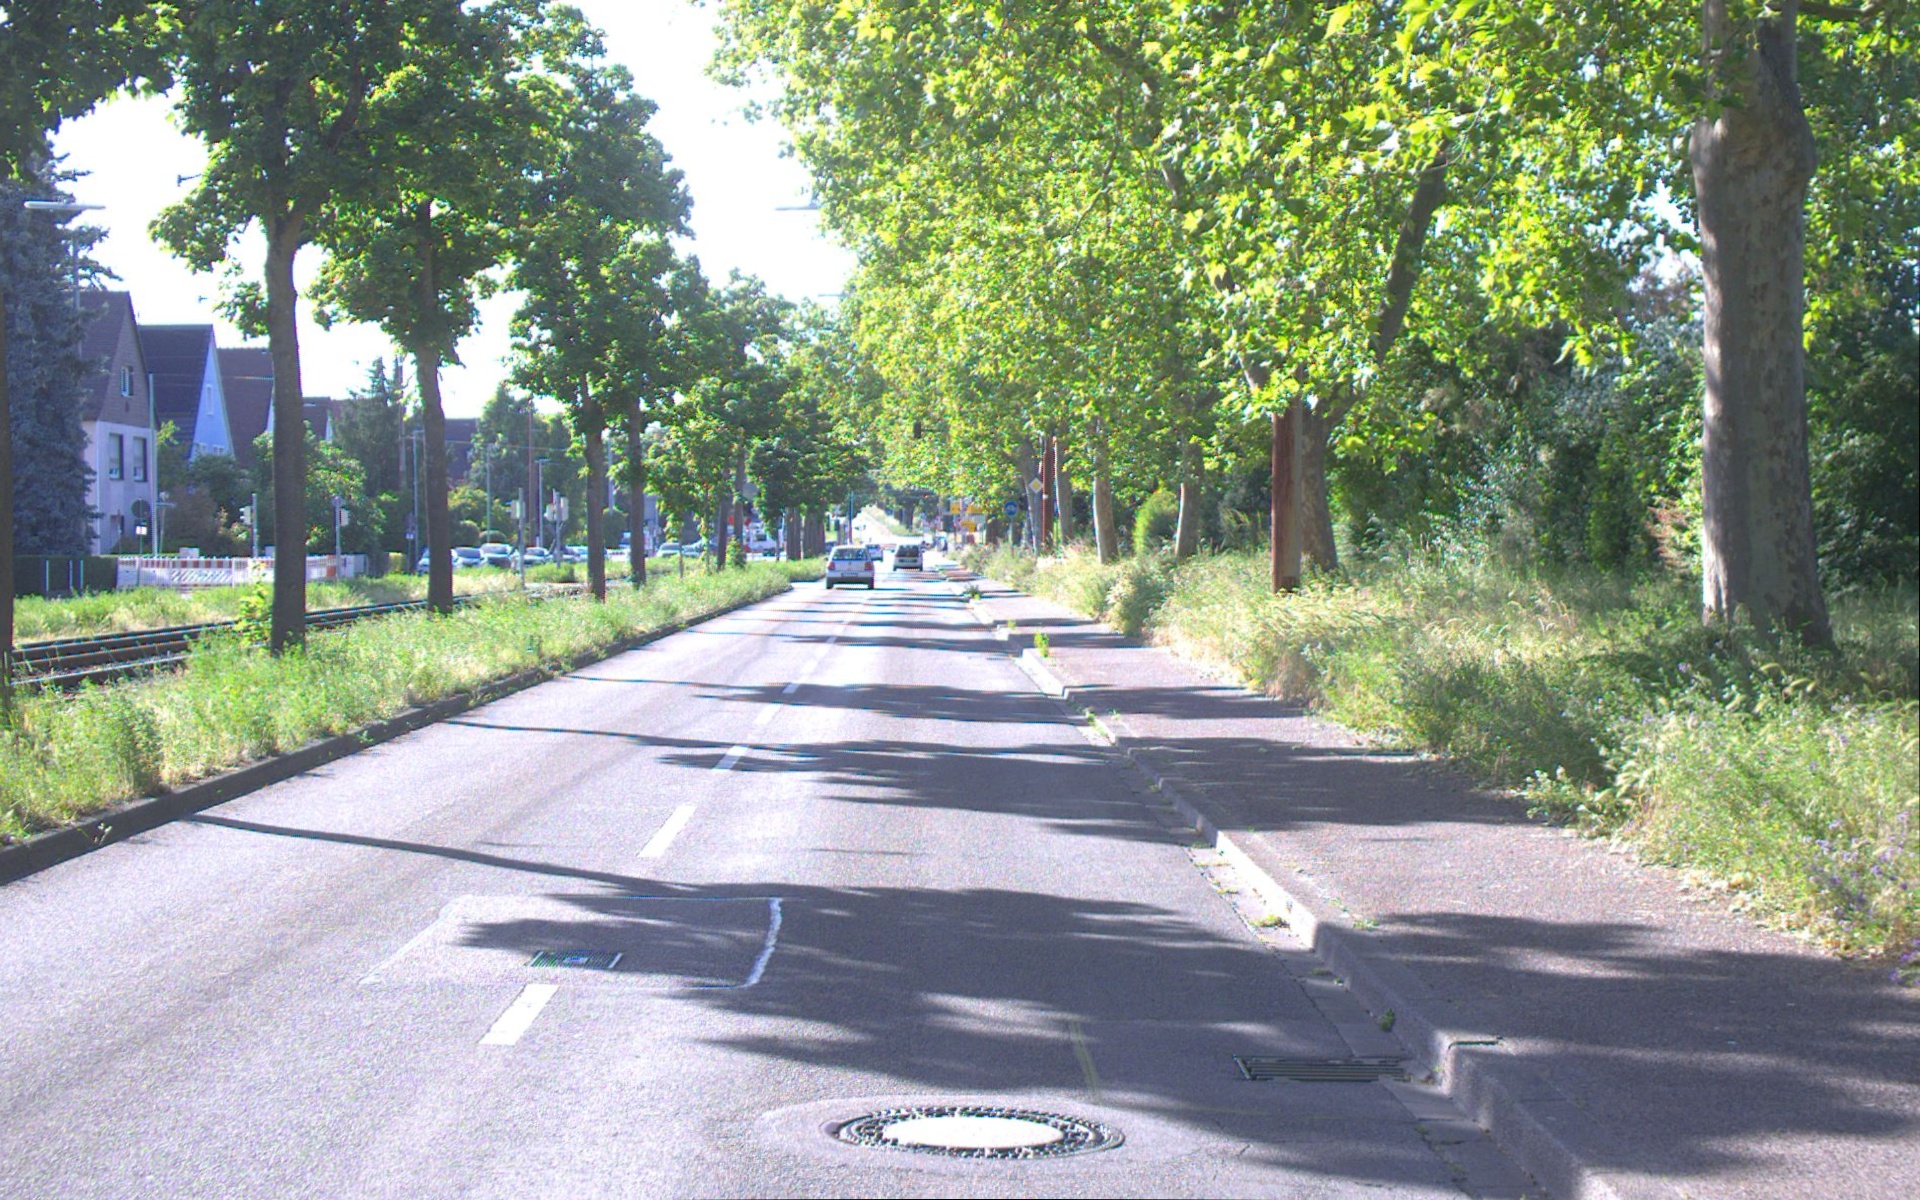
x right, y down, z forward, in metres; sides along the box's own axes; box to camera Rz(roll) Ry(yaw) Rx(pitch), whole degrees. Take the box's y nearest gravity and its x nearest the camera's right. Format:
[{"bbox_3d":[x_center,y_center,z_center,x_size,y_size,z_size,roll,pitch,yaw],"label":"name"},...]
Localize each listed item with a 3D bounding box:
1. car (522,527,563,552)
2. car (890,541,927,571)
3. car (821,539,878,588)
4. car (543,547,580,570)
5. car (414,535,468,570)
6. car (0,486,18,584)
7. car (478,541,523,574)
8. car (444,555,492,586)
[{"bbox_3d":[-23.749,-3.424,195.716,1.860,1.365,4.228,1,1,-1],"label":"car"},{"bbox_3d":[-2.875,-2.413,189.595,1.993,1.598,4.474,1,1,-1],"label":"car"},{"bbox_3d":[-3.713,-1.227,116.254,1.860,1.595,4.228,1,1,-1],"label":"car"},{"bbox_3d":[-24.818,-2.612,214.320,1.860,1.408,4.159,1,1,-1],"label":"car"},{"bbox_3d":[-23.544,-2.159,156.077,1.860,1.537,4.228,1,1,-1],"label":"car"},{"bbox_3d":[-28.350,-1.764,93.167,5.028,2.616,2.103,0,2,-1],"label":"car"},{"bbox_3d":[-23.589,-2.200,176.615,1.748,1.645,4.555,1,1,-1],"label":"car"},{"bbox_3d":[-23.599,-1.433,165.000,1.729,1.461,4.603,1,1,-1],"label":"car"}]
